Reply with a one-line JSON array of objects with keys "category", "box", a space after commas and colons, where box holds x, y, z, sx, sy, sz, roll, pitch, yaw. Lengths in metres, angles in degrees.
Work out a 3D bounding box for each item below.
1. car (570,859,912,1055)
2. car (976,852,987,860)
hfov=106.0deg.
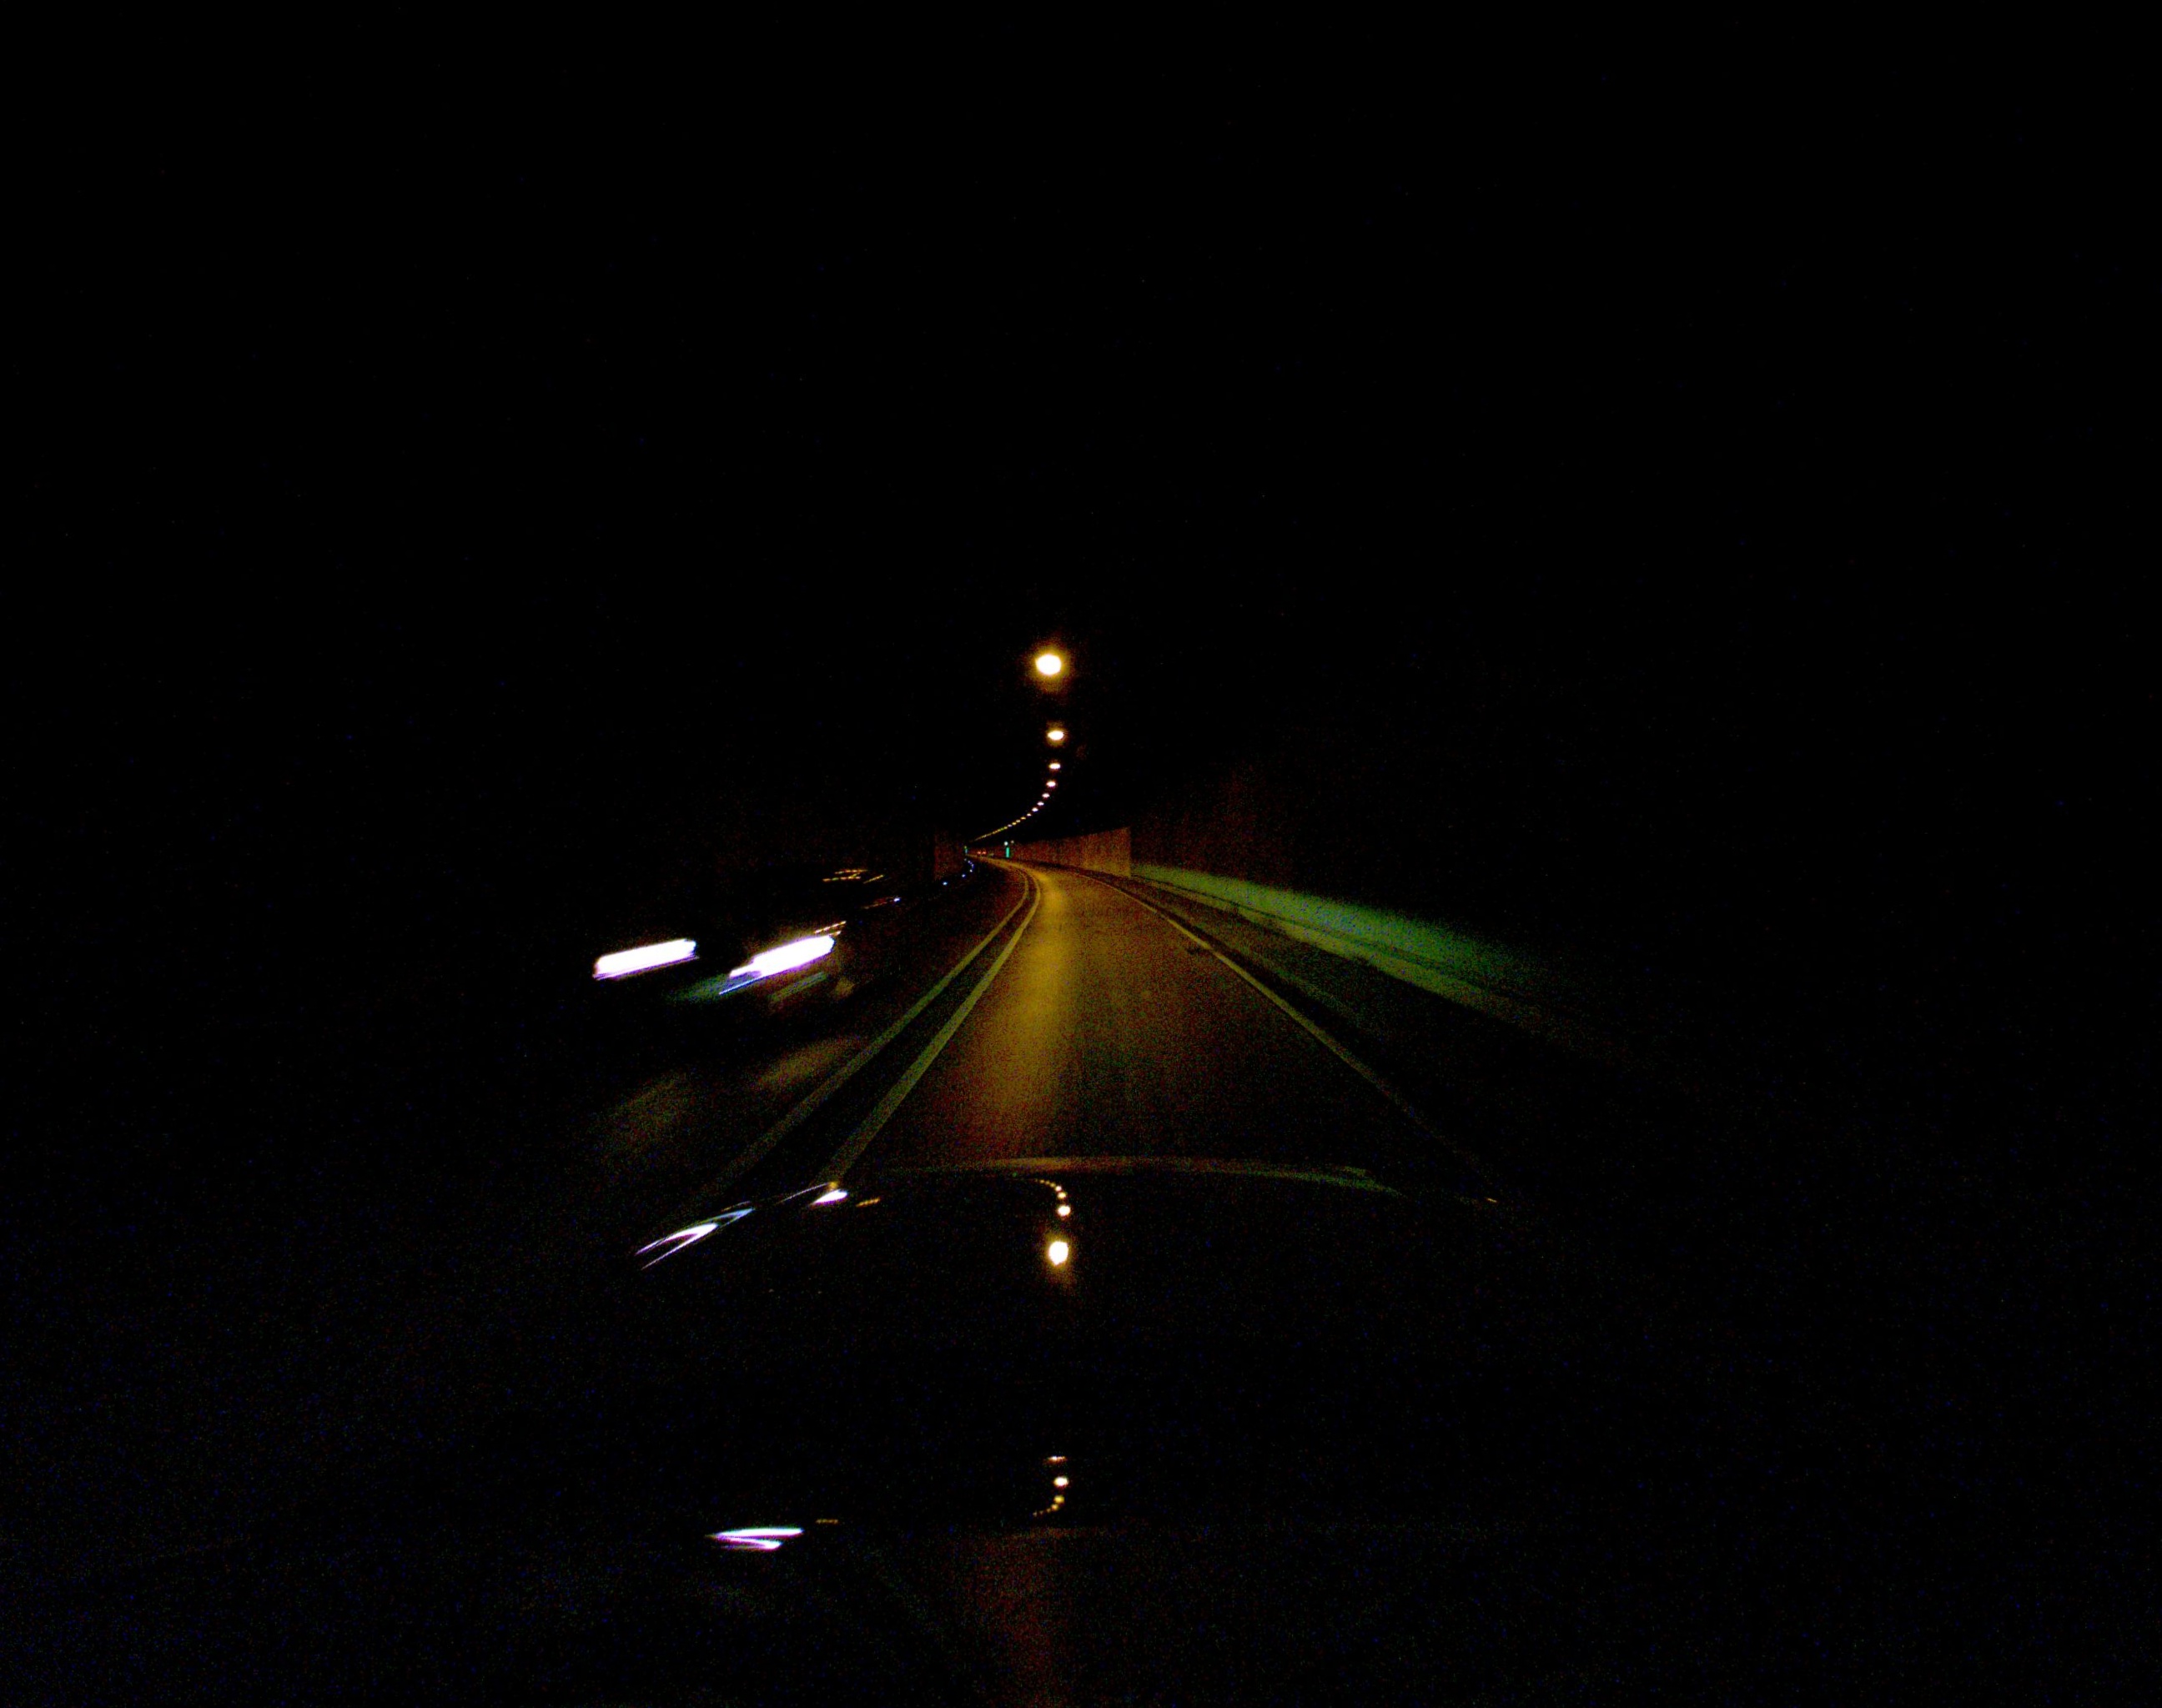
[{"category": "car", "box": [-3.041, 0.798, 8.396, 1.711, 1.443, 4.392, 0, 0, -1]}, {"category": "car", "box": [-25.026, 0.458, 204.710, 1.971, 1.939, 4.587, -1, -1, -16]}]
